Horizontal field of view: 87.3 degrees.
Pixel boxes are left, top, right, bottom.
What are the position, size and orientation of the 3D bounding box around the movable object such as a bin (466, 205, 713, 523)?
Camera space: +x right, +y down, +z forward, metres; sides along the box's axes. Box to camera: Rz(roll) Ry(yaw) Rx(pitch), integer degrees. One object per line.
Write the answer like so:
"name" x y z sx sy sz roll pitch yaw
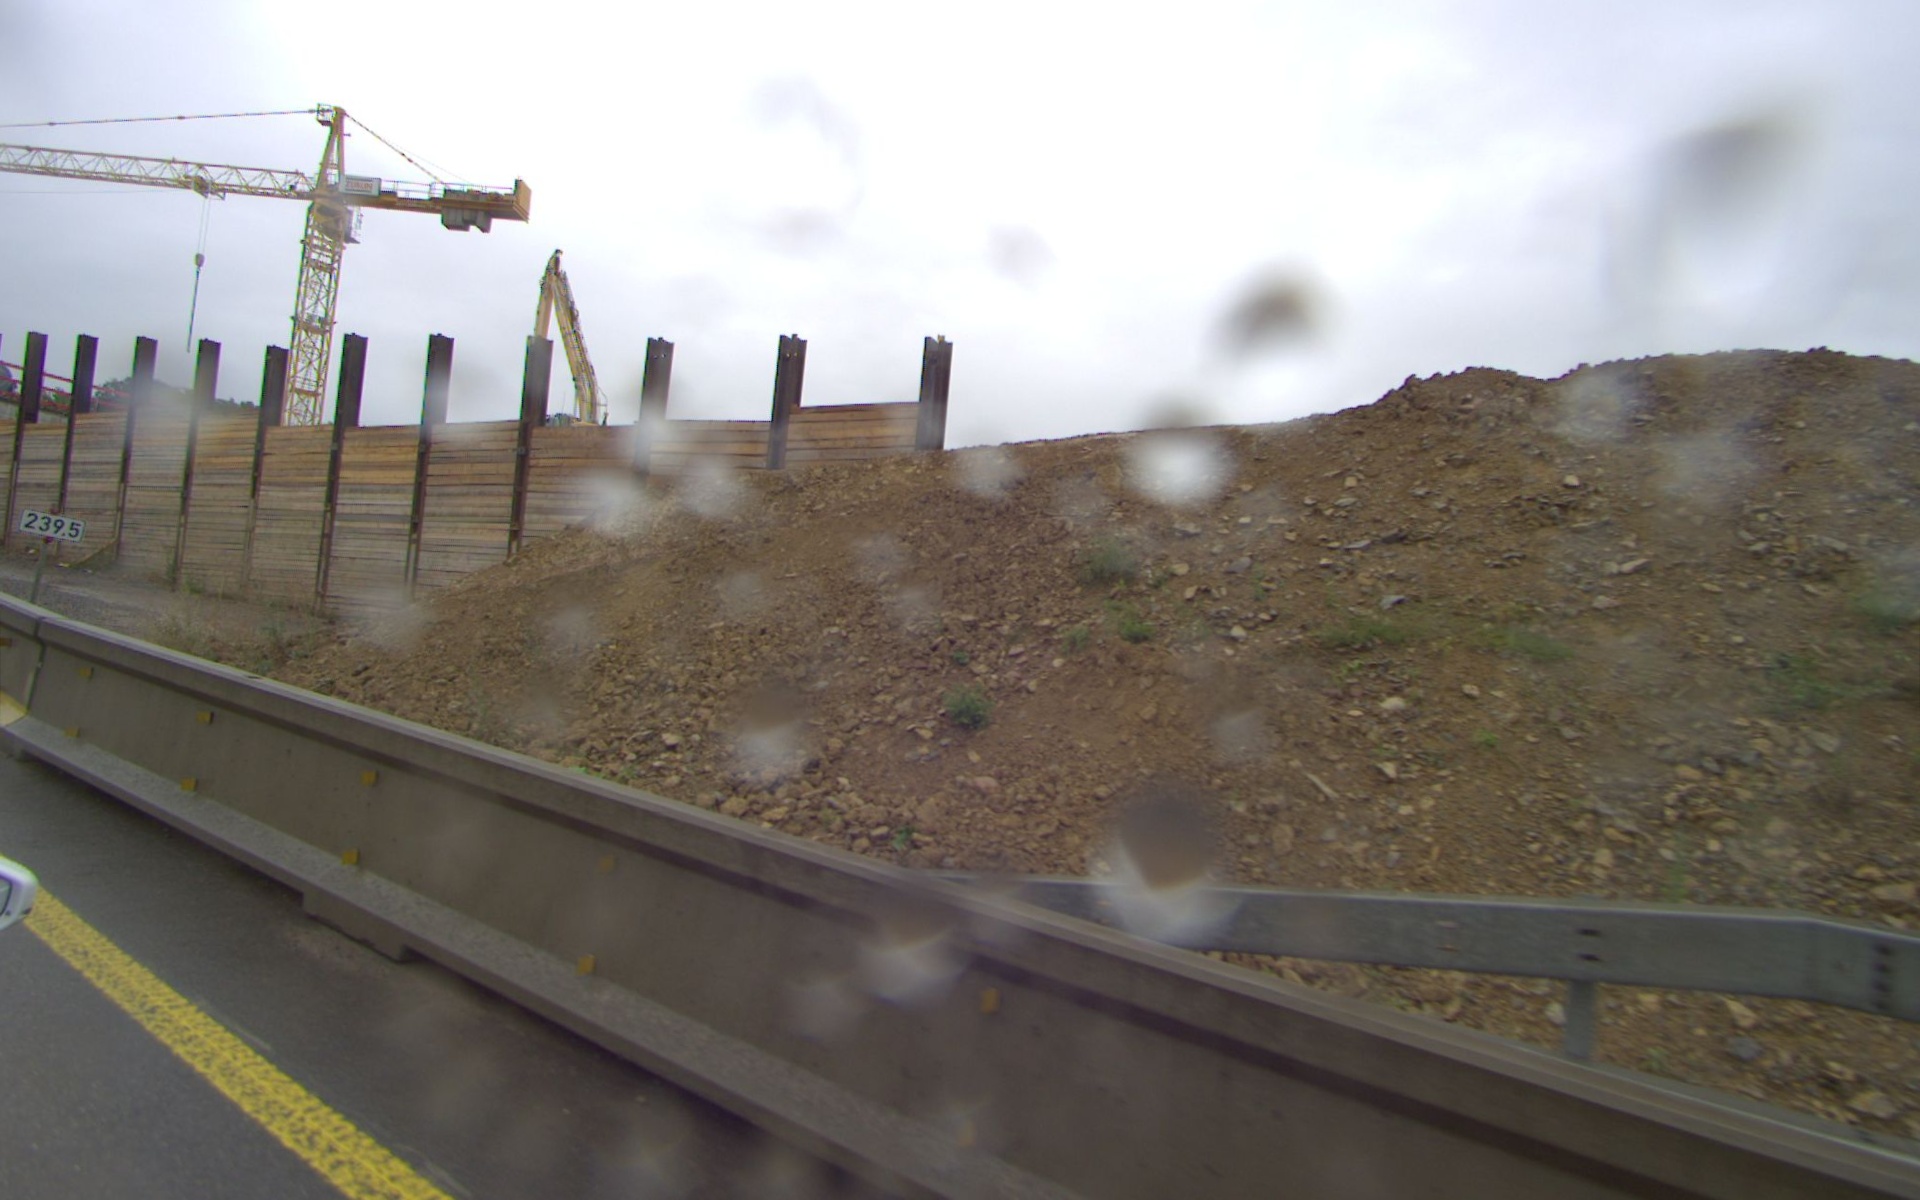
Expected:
"movable object such as a bin" -15.853 -9.197 42.534 10.166 10.968 4.711 3 -2 41
